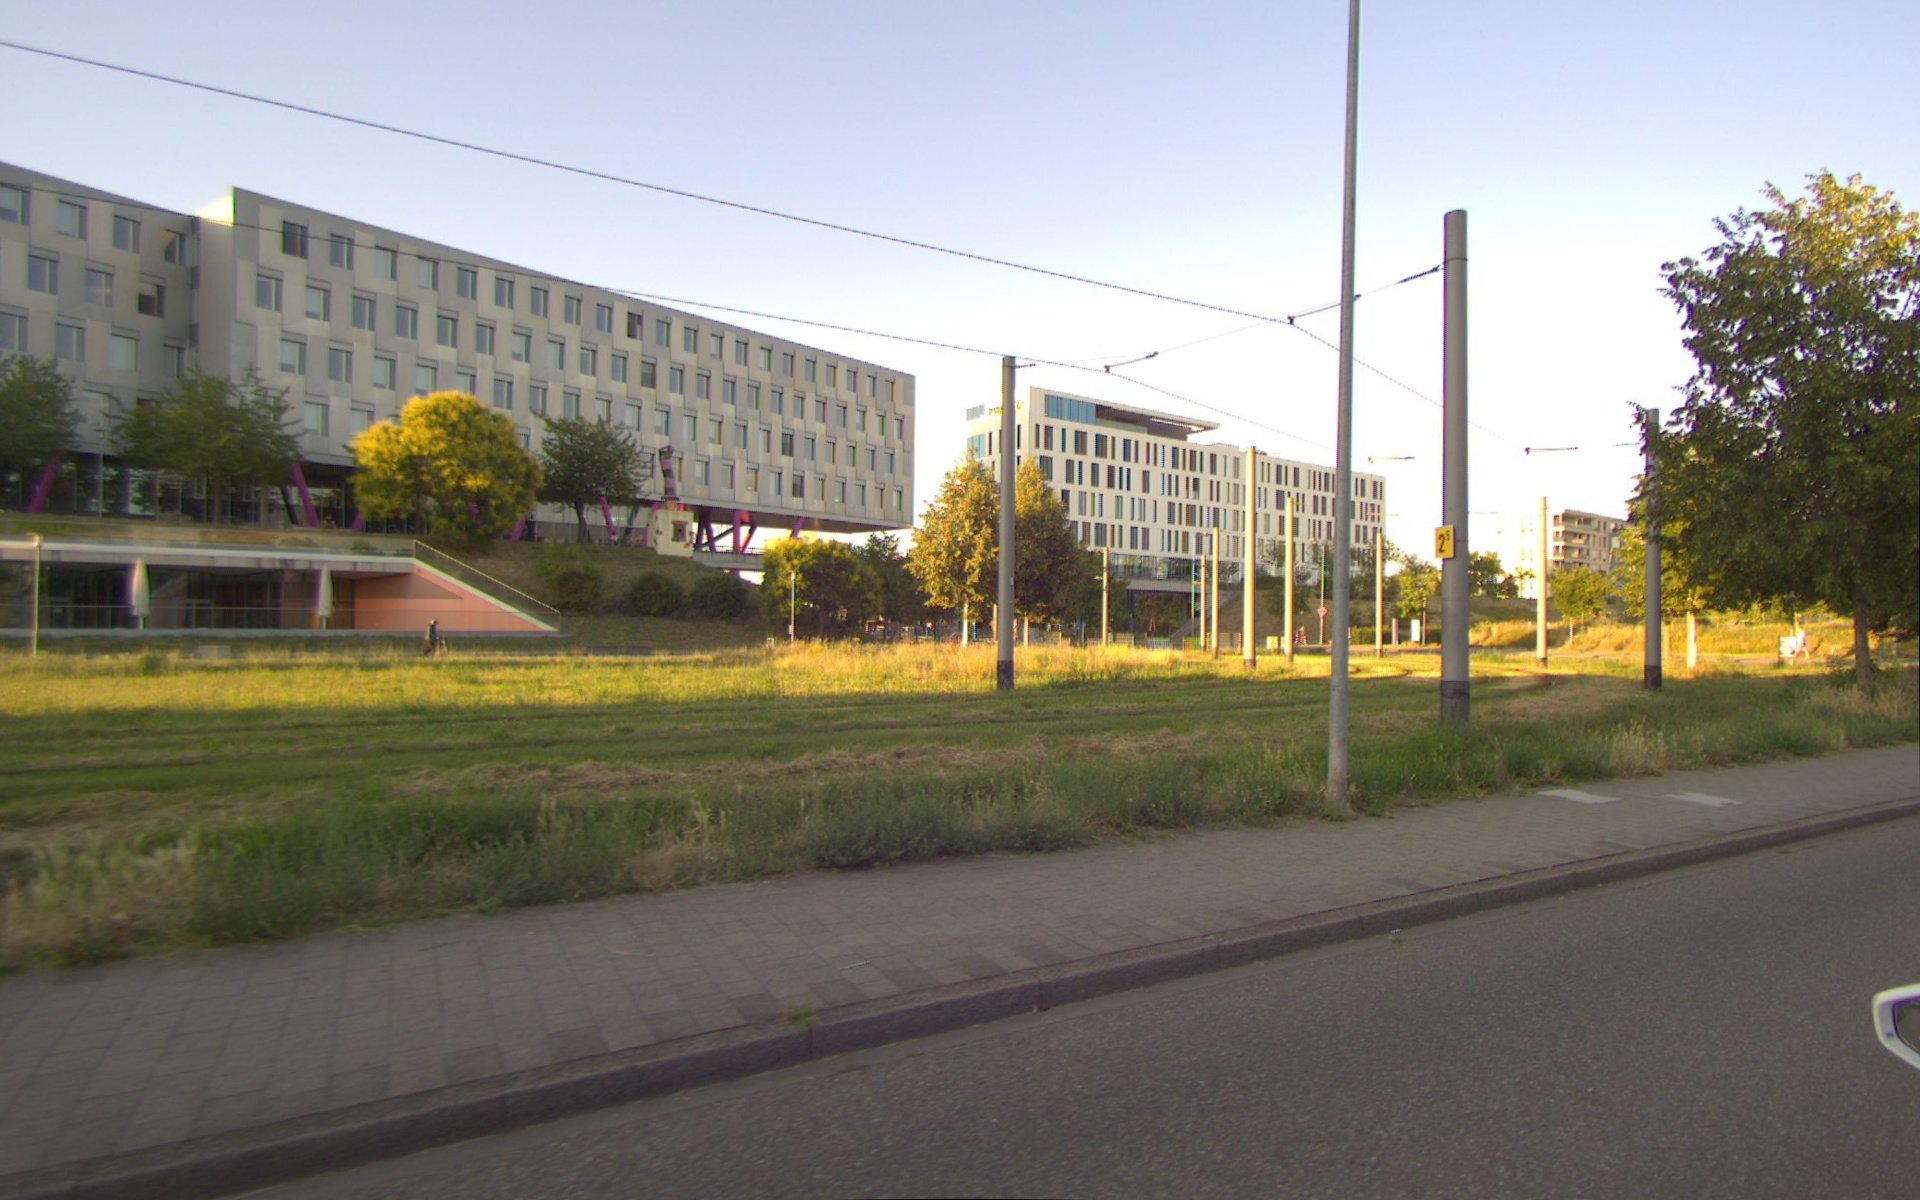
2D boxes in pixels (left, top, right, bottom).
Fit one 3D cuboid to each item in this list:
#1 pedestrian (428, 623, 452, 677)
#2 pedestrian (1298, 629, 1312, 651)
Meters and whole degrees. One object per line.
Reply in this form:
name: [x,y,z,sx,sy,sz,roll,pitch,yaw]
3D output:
pedestrian: [-20.952,2.005,40.469,0.781,2.110,0.613,1,1,-32]
pedestrian: [29.127,3.366,84.883,0.803,1.810,0.784,1,-1,-27]
